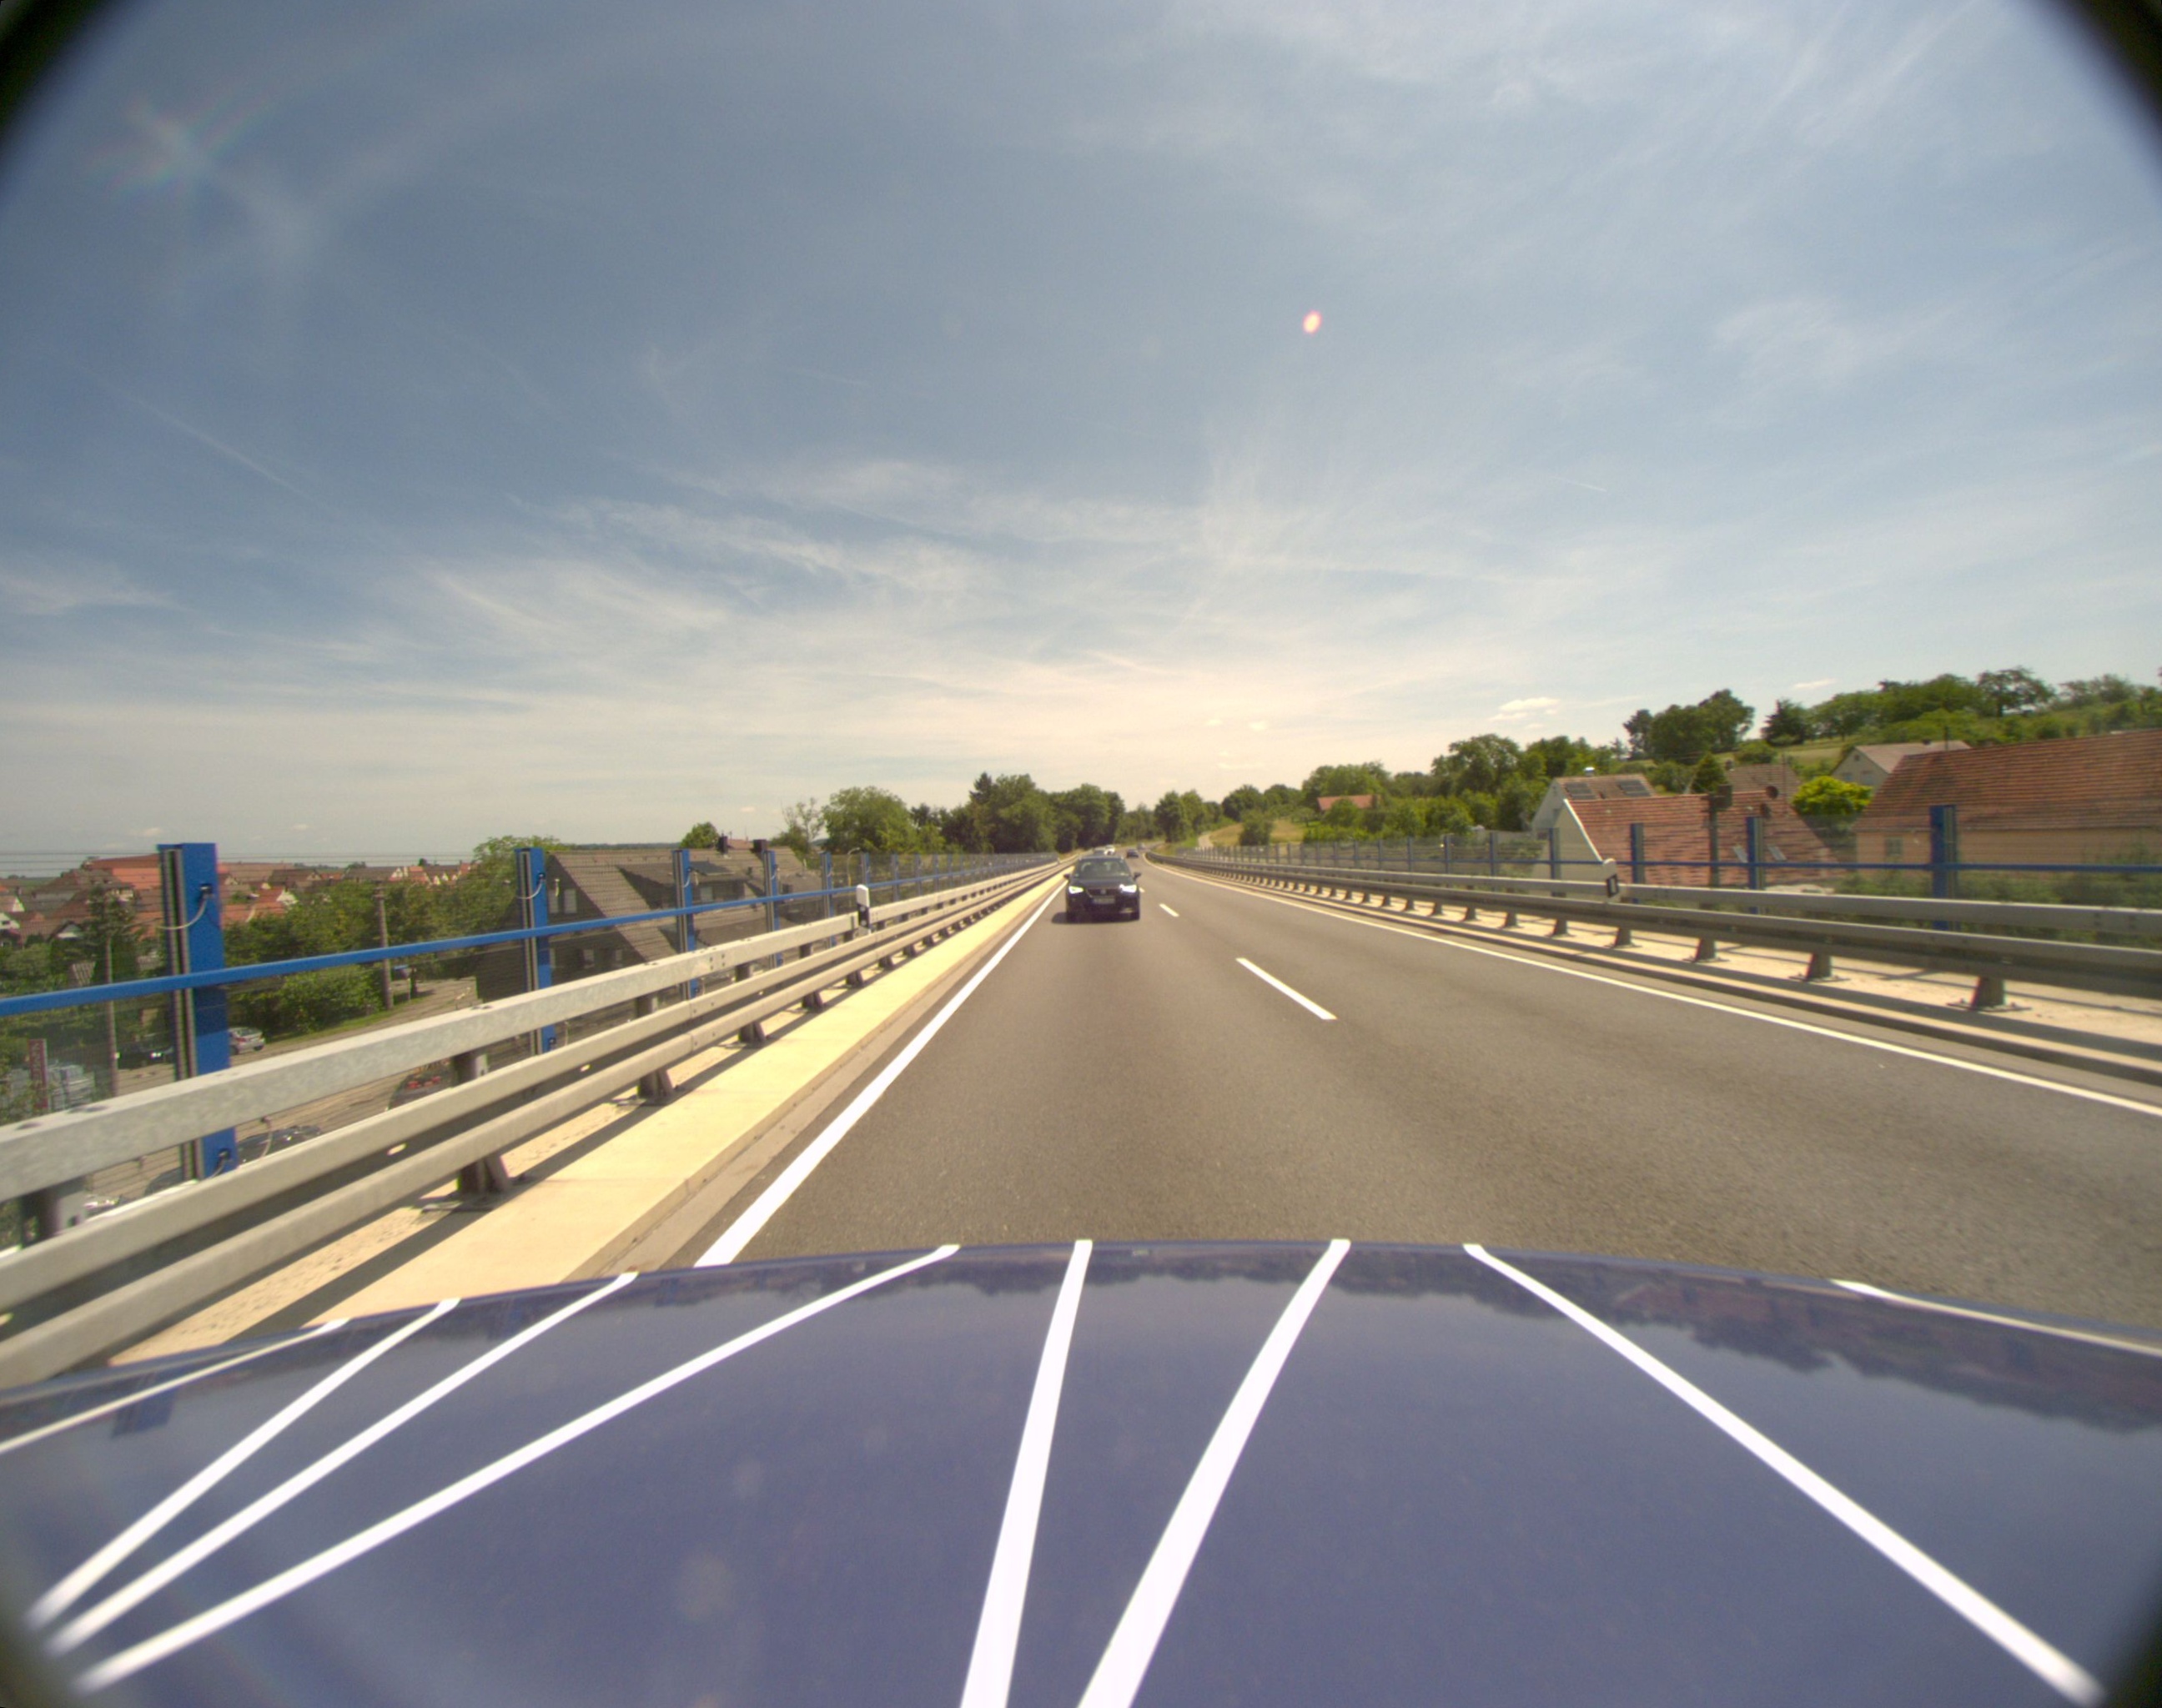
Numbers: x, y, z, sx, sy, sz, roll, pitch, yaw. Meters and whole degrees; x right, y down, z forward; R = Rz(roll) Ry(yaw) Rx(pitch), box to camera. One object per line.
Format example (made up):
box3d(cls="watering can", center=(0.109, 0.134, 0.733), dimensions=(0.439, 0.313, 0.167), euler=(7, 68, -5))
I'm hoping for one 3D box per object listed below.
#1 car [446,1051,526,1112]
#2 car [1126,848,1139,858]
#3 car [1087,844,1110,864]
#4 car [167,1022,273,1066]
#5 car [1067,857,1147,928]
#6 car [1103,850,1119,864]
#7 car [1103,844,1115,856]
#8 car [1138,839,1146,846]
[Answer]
box3d(cls="car", center=(-25.876, 9.848, 33.194), dimensions=(1.729, 1.359, 3.993), euler=(-9, 1, -25))
box3d(cls="car", center=(7.716, -0.138, 113.741), dimensions=(1.785, 1.427, 4.835), euler=(-1, 1, 3))
box3d(cls="car", center=(1.580, -0.040, 67.639), dimensions=(1.883, 1.699, 4.000), euler=(-1, 1, 4))
box3d(cls="car", center=(-52.345, 11.546, 46.252), dimensions=(3.998, 1.559, 1.822), euler=(-9, 2, -3))
box3d(cls="car", center=(0.613, 0.865, 18.865), dimensions=(1.737, 1.467, 3.999), euler=(-1, 1, 1))
box3d(cls="car", center=(3.773, 0.340, 95.339), dimensions=(1.883, 1.699, 4.000), euler=(-1, 1, 3))
box3d(cls="car", center=(5.031, -0.704, 135.023), dimensions=(1.998, 2.002, 3.999), euler=(-2, 2, 2))
box3d(cls="car", center=(13.749, -2.555, 171.779), dimensions=(1.711, 1.496, 4.118), euler=(-1, 1, 2))
